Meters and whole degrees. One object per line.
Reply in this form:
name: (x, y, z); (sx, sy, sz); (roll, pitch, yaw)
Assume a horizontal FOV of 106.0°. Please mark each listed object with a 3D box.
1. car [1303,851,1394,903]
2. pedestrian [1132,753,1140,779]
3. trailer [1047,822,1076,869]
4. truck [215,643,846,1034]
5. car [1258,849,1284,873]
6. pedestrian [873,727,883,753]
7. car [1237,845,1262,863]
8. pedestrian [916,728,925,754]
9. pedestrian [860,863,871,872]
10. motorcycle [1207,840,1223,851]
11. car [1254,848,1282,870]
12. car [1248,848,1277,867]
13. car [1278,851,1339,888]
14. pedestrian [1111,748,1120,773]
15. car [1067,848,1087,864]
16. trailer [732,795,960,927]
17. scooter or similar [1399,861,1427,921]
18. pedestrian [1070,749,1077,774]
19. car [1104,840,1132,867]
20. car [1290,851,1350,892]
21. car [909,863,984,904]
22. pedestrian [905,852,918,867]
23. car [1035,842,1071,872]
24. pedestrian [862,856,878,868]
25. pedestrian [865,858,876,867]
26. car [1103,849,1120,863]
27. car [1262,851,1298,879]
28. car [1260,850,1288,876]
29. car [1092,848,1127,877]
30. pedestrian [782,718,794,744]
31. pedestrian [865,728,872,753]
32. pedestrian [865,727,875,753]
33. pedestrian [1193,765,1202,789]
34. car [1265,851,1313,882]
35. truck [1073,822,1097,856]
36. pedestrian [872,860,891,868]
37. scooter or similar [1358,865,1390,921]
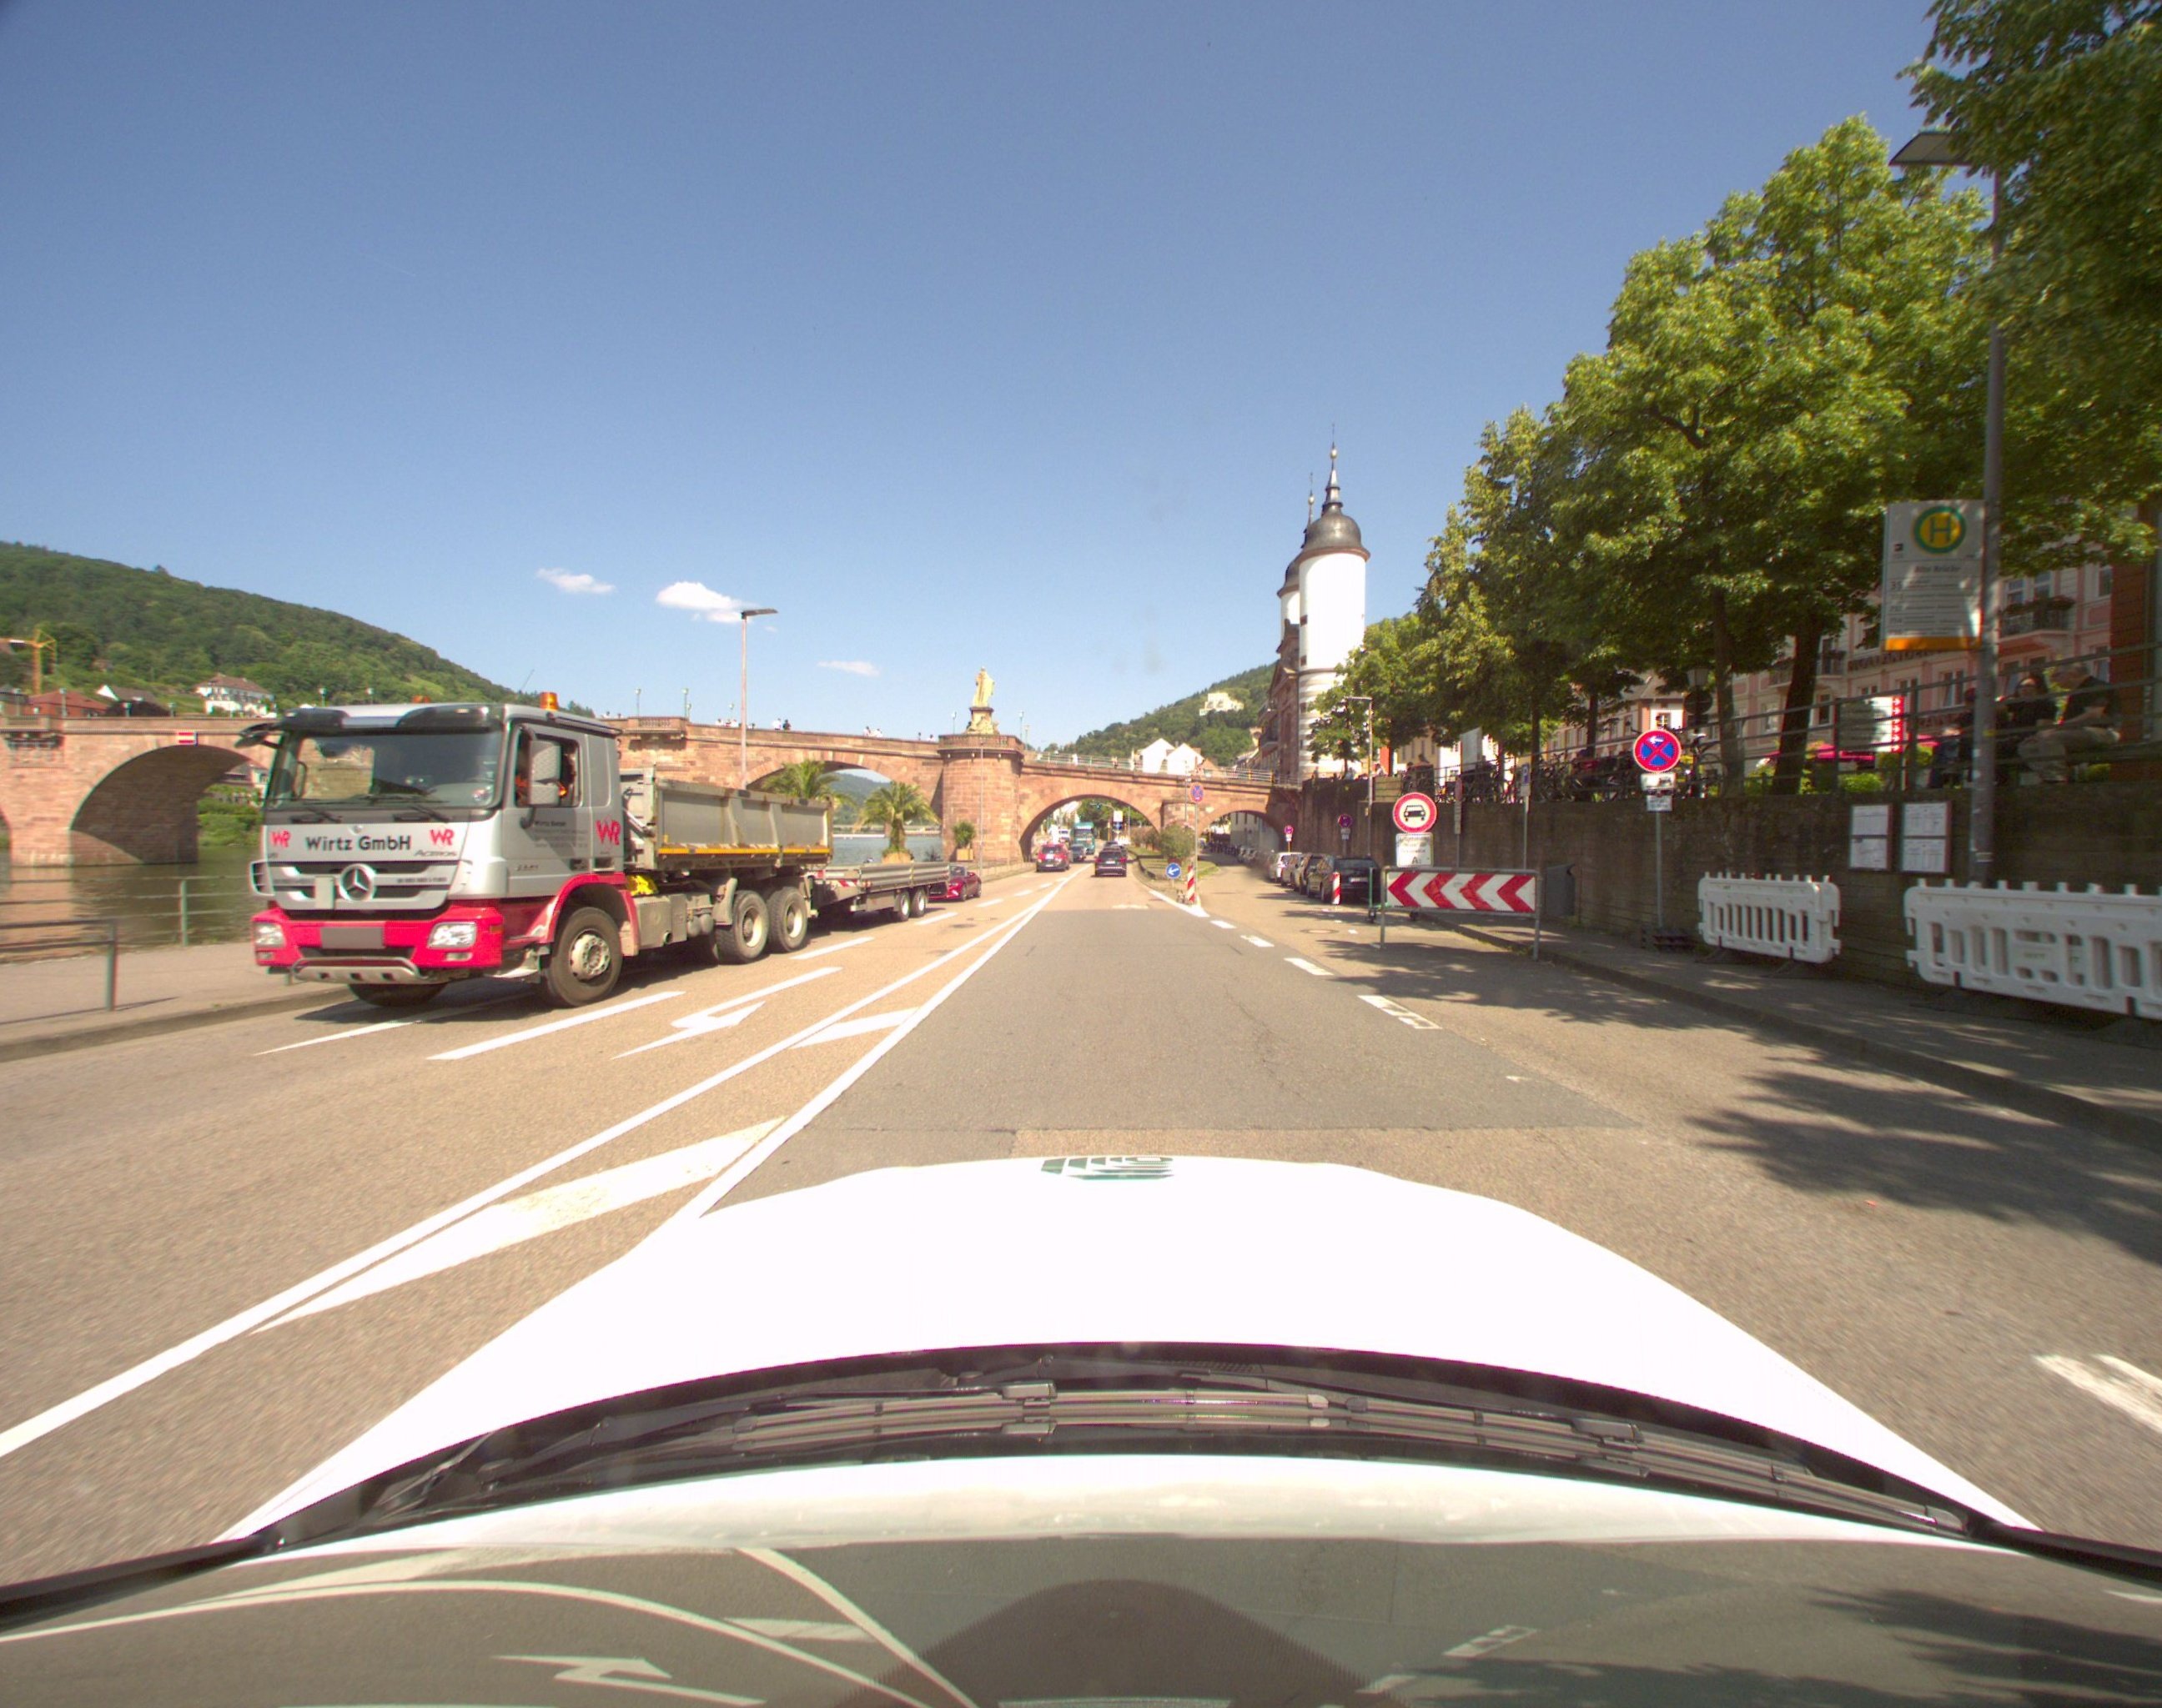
car: (8.101, 0.628, 25.102); (1.833, 1.450, 4.543); (0, 0, 7)
pedestrian: (4.456, -7.075, 65.782); (0.621, 2.013, 0.696); (-1, 0, 4)
trailer: (-1.413, -0.660, 60.408); (1.733, 3.320, 3.389); (-2, 1, 5)
truck: (-6.178, -0.119, 11.296); (2.628, 3.456, 7.886); (-2, 0, 7)
car: (12.415, 0.434, 53.258); (1.580, 1.520, 3.917); (0, 1, 13)
pedestrian: (-16.684, -9.371, 66.850); (0.622, 2.013, 0.694); (-1, 0, -4)
car: (15.369, -0.054, 74.472); (1.883, 1.492, 4.425); (-1, 1, 6)
pedestrian: (-13.205, -9.257, 66.921); (0.622, 2.013, 0.694); (-1, 0, -4)
pedestrian: (-13.599, 0.862, 51.482); (0.460, 0.564, 0.516); (-4, 0, 13)
motorcycle: (16.956, -1.068, 103.243); (2.207, 1.267, 0.622); (-2, 2, -35)
car: (13.653, 0.358, 59.570); (1.765, 1.502, 3.998); (-1, 1, 10)
car: (14.385, 0.250, 64.761); (1.766, 1.436, 4.500); (0, 1, 6)
car: (9.625, 0.599, 34.734); (1.745, 1.432, 4.764); (0, 0, 6)
pedestrian: (2.907, -7.893, 68.779); (0.681, 2.013, 0.587); (-1, 0, 3)
car: (-0.334, 0.148, 76.484); (1.528, 1.436, 3.732); (-2, 1, 4)
trailer: (-5.194, 0.148, 19.580); (2.683, 2.531, 6.960); (-2, 0, 7)
scooter or similar: (7.277, 0.791, 17.872); (0.527, 1.230, 1.278); (-1, 0, 21)
pedestrian: (-0.635, -7.844, 68.865); (0.579, 2.013, 0.587); (-1, 0, 3)
car: (2.875, -0.054, 62.135); (1.984, 2.013, 4.005); (-1, 0, 4)
car: (8.688, 0.589, 29.854); (1.602, 1.413, 3.913); (0, 0, 9)
car: (-4.477, 0.951, 27.573); (1.664, 1.194, 3.633); (-2, 0, 4)
pedestrian: (-14.536, 0.491, 69.742); (0.722, 1.241, 1.148); (0, 0, 7)
car: (-1.863, 0.163, 55.187); (1.866, 1.827, 4.550); (-2, 1, 4)
pedestrian: (-13.734, 0.510, 53.042); (0.781, 0.742, 0.713); (0, 1, 13)
pedestrian: (-13.648, 0.561, 52.872); (0.460, 0.564, 0.516); (-4, 0, 13)
car: (3.660, 0.185, 97.291); (1.987, 1.662, 4.001); (0, 0, 1)
car: (10.675, 0.580, 43.842); (1.699, 1.388, 4.422); (-1, 0, 12)
car: (11.458, 0.515, 48.560); (1.485, 1.484, 3.727); (0, 1, 11)
car: (1.683, 0.466, 46.429); (1.849, 1.523, 4.004); (-1, 1, 4)
pedestrian: (-24.005, -10.085, 66.738); (0.691, 2.013, 0.625); (-1, 0, 0)
pedestrian: (-17.569, -9.364, 67.409); (0.457, 2.013, 0.553); (-1, 0, -4)
pedestrian: (-17.294, -9.362, 66.711); (0.622, 2.013, 0.694); (-1, 0, -4)
pedestrian: (10.066, -6.639, 70.525); (0.681, 2.013, 0.587); (-1, 0, 3)
car: (10.132, 0.568, 39.865); (1.703, 1.457, 3.552); (0, 0, 5)
truck: (0.493, -1.815, 96.380); (2.514, 3.748, 6.250); (-2, 2, 2)
pedestrian: (-12.662, 0.611, 51.751); (0.642, 0.421, 1.744); (-2, 1, 4)
scooter or similar: (6.205, 0.804, 17.269); (0.527, 1.089, 1.445); (-1, 0, 16)
